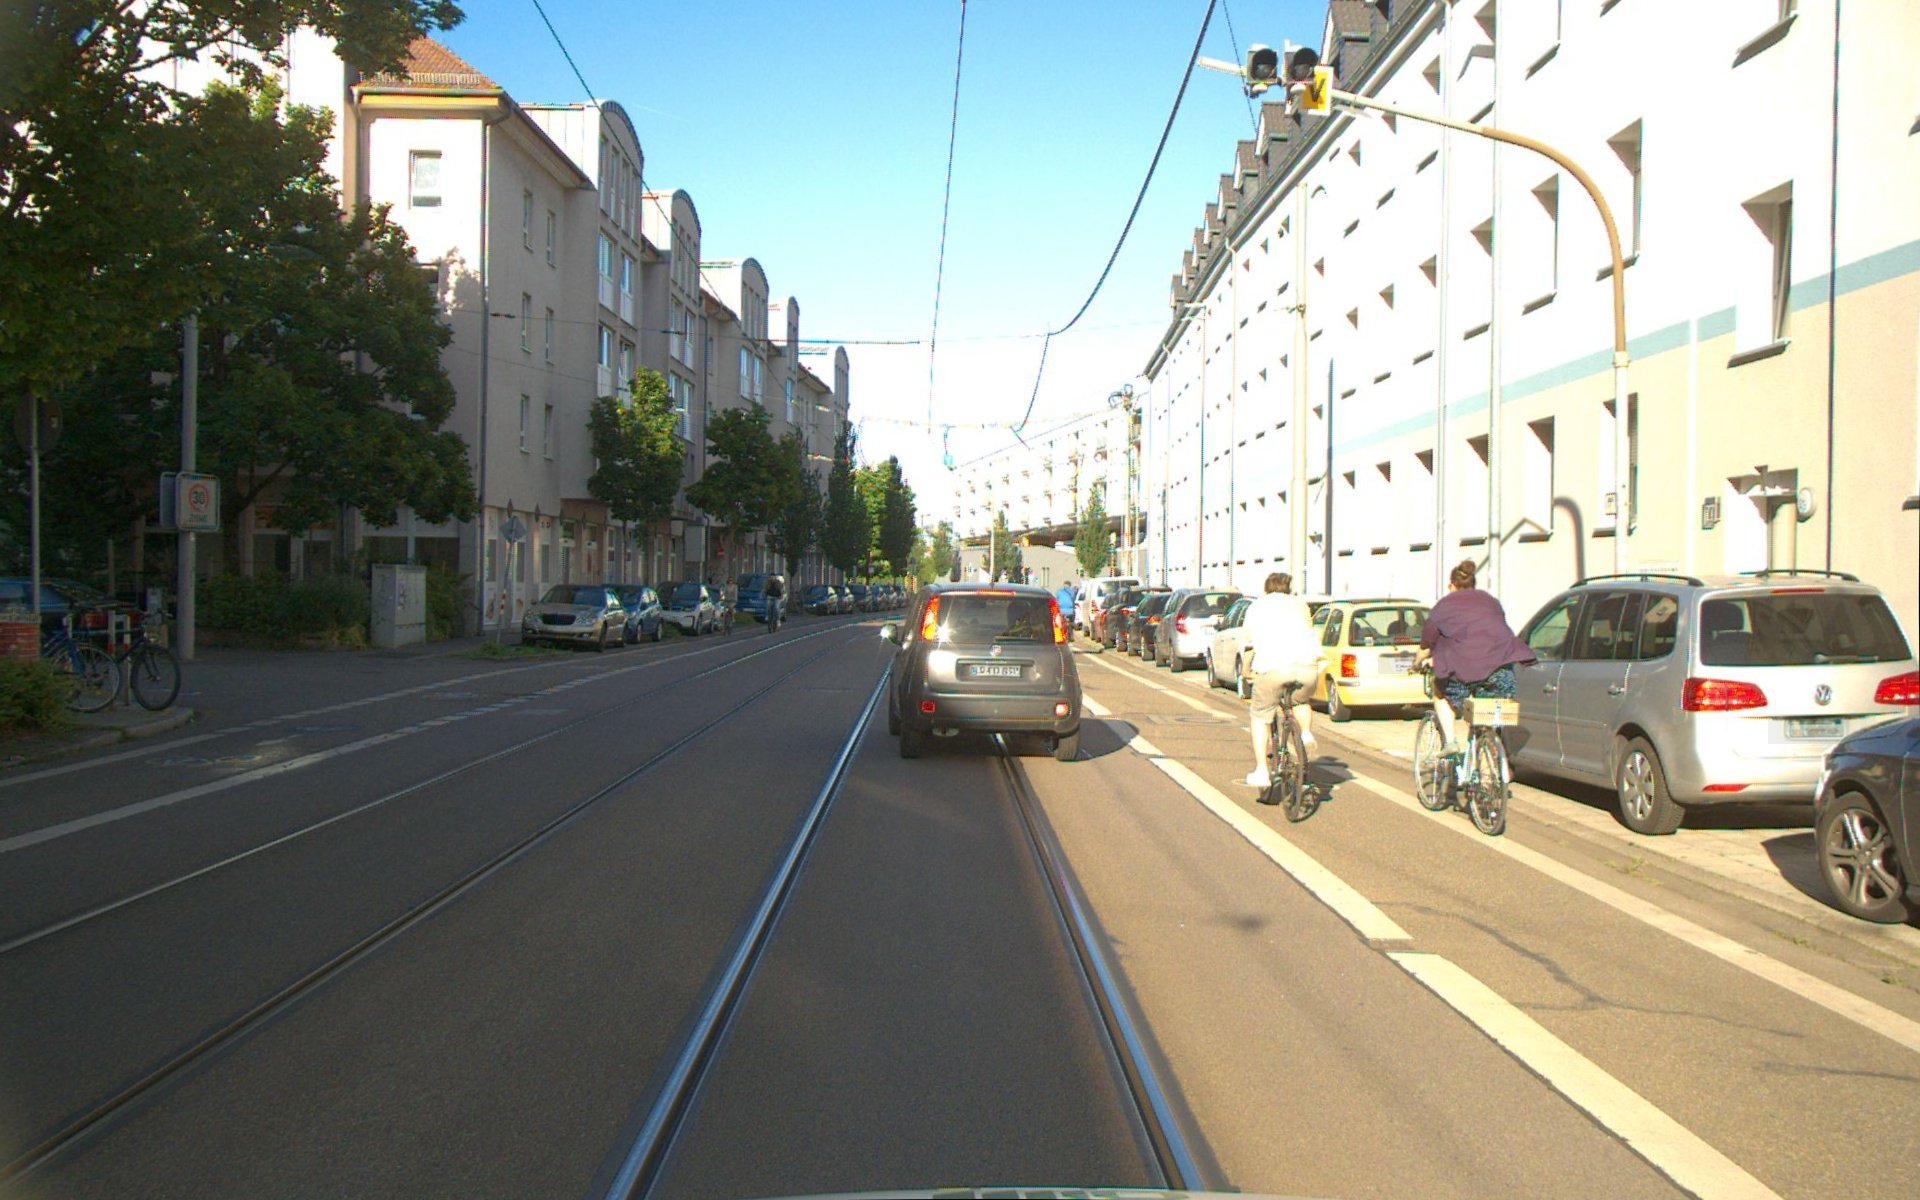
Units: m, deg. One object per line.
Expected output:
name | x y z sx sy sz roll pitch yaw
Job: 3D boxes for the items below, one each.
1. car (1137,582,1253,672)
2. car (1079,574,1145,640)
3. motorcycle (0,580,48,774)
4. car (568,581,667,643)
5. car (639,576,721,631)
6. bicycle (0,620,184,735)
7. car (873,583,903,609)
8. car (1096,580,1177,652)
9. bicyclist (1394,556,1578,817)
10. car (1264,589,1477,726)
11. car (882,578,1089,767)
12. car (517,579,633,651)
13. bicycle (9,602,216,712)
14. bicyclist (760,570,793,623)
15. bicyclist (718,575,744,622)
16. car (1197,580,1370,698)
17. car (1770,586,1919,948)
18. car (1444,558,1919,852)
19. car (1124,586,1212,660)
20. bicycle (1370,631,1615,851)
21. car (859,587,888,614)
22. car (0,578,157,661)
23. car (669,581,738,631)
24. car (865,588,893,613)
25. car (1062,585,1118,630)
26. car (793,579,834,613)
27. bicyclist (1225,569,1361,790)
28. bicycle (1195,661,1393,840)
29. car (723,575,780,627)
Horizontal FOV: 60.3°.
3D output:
car | 4.599 0.488 32.875 1.718 1.598 3.904 -3 1 0
car | 4.818 0.198 52.963 1.750 2.005 4.155 -1 1 0
motorcycle | -8.231 0.573 12.774 1.931 1.472 0.719 0 0 -8
car | -8.947 0.281 43.473 1.792 1.515 3.999 -1 1 -1
car | -8.701 0.081 51.727 1.792 1.621 4.001 0 1 1
bicycle | -8.807 0.770 16.580 1.768 1.103 0.595 0 0 1
car | -4.796 -0.305 110.441 1.806 1.674 3.697 0 1 0
car | 4.558 0.377 43.240 1.626 1.698 3.904 -3 1 0
bicyclist | 3.575 0.561 11.323 0.915 1.705 0.969 1 0 -2
car | 5.003 0.628 20.689 1.483 1.455 4.200 -2 1 -1
car | 0.135 0.585 15.468 1.526 1.559 3.482 1 1 -6
car | -8.748 0.308 37.855 1.709 1.468 3.999 3 1 -1
bicycle | -8.796 0.586 17.196 1.838 1.103 0.595 0 0 1
bicyclist | -5.690 -0.115 51.424 0.864 1.588 0.868 -3 0 -1
bicyclist | -7.087 -0.046 51.219 0.610 1.404 0.868 -4 0 -1
car | 4.786 0.510 25.065 1.645 1.598 4.509 -1 1 -1
car | 5.128 0.740 6.446 1.825 1.582 4.366 -1 1 0
car | 5.194 0.581 12.035 1.720 1.694 4.623 -1 1 -4
car | 4.772 0.497 38.340 1.559 1.564 4.008 -2 1 1
bicycle | 3.599 0.896 11.460 0.804 1.258 2.461 2 1 -2
car | -5.230 0.022 100.319 1.559 1.567 3.191 0 1 0
car | -16.870 0.321 29.309 4.459 1.412 1.714 0 0 3
car | -8.726 0.171 56.587 1.792 1.621 3.999 0 1 -1
car | -5.102 0.013 104.594 1.559 1.567 3.191 0 1 0
car | 5.017 0.269 64.329 1.806 1.674 4.549 0 1 0
car | -7.220 -0.221 81.789 1.630 1.646 4.001 1 1 1
bicyclist | 2.332 0.529 11.686 0.713 1.487 1.020 1 0 -2
bicycle | 2.298 0.998 11.801 0.724 0.940 2.835 3 1 -2
car | -8.274 0.015 65.848 1.630 2.021 4.344 1 1 1
